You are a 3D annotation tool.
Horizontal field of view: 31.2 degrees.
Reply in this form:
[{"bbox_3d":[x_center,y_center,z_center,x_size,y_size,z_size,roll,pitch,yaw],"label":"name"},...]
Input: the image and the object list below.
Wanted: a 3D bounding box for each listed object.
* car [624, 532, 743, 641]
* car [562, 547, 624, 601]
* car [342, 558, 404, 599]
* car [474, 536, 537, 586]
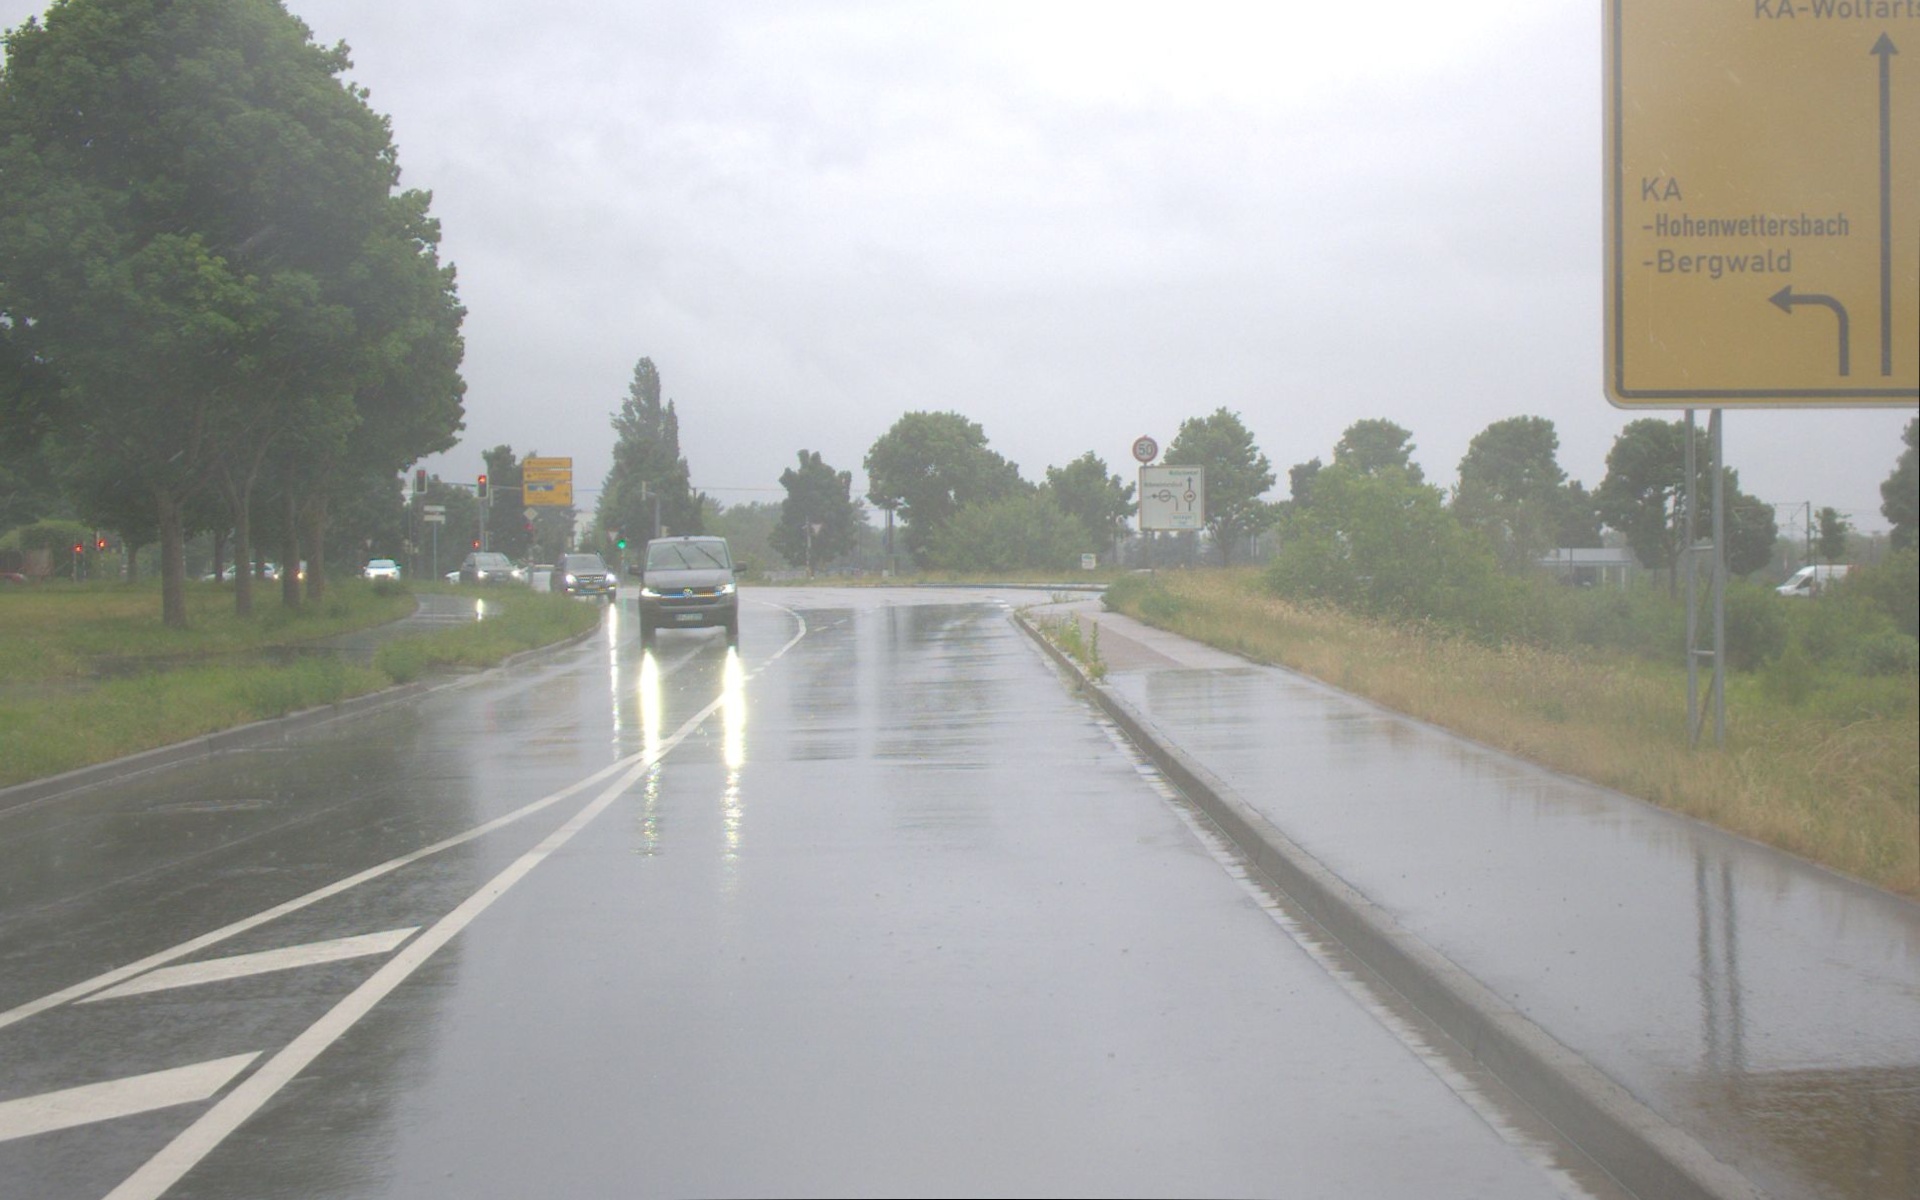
[{"bbox_3d":[-5.338,-0.281,66.926,1.993,1.966,4.957,-2,1,-2],"label":"car"},{"bbox_3d":[-12.717,-0.908,118.956,1.905,1.715,4.001,-4,1,-8],"label":"car"},{"bbox_3d":[-30.822,-1.143,180.570,1.993,2.007,4.001,2,1,-28],"label":"car"},{"bbox_3d":[-18.732,-1.606,141.641,1.993,2.007,4.001,1,0,-15],"label":"car"}]
